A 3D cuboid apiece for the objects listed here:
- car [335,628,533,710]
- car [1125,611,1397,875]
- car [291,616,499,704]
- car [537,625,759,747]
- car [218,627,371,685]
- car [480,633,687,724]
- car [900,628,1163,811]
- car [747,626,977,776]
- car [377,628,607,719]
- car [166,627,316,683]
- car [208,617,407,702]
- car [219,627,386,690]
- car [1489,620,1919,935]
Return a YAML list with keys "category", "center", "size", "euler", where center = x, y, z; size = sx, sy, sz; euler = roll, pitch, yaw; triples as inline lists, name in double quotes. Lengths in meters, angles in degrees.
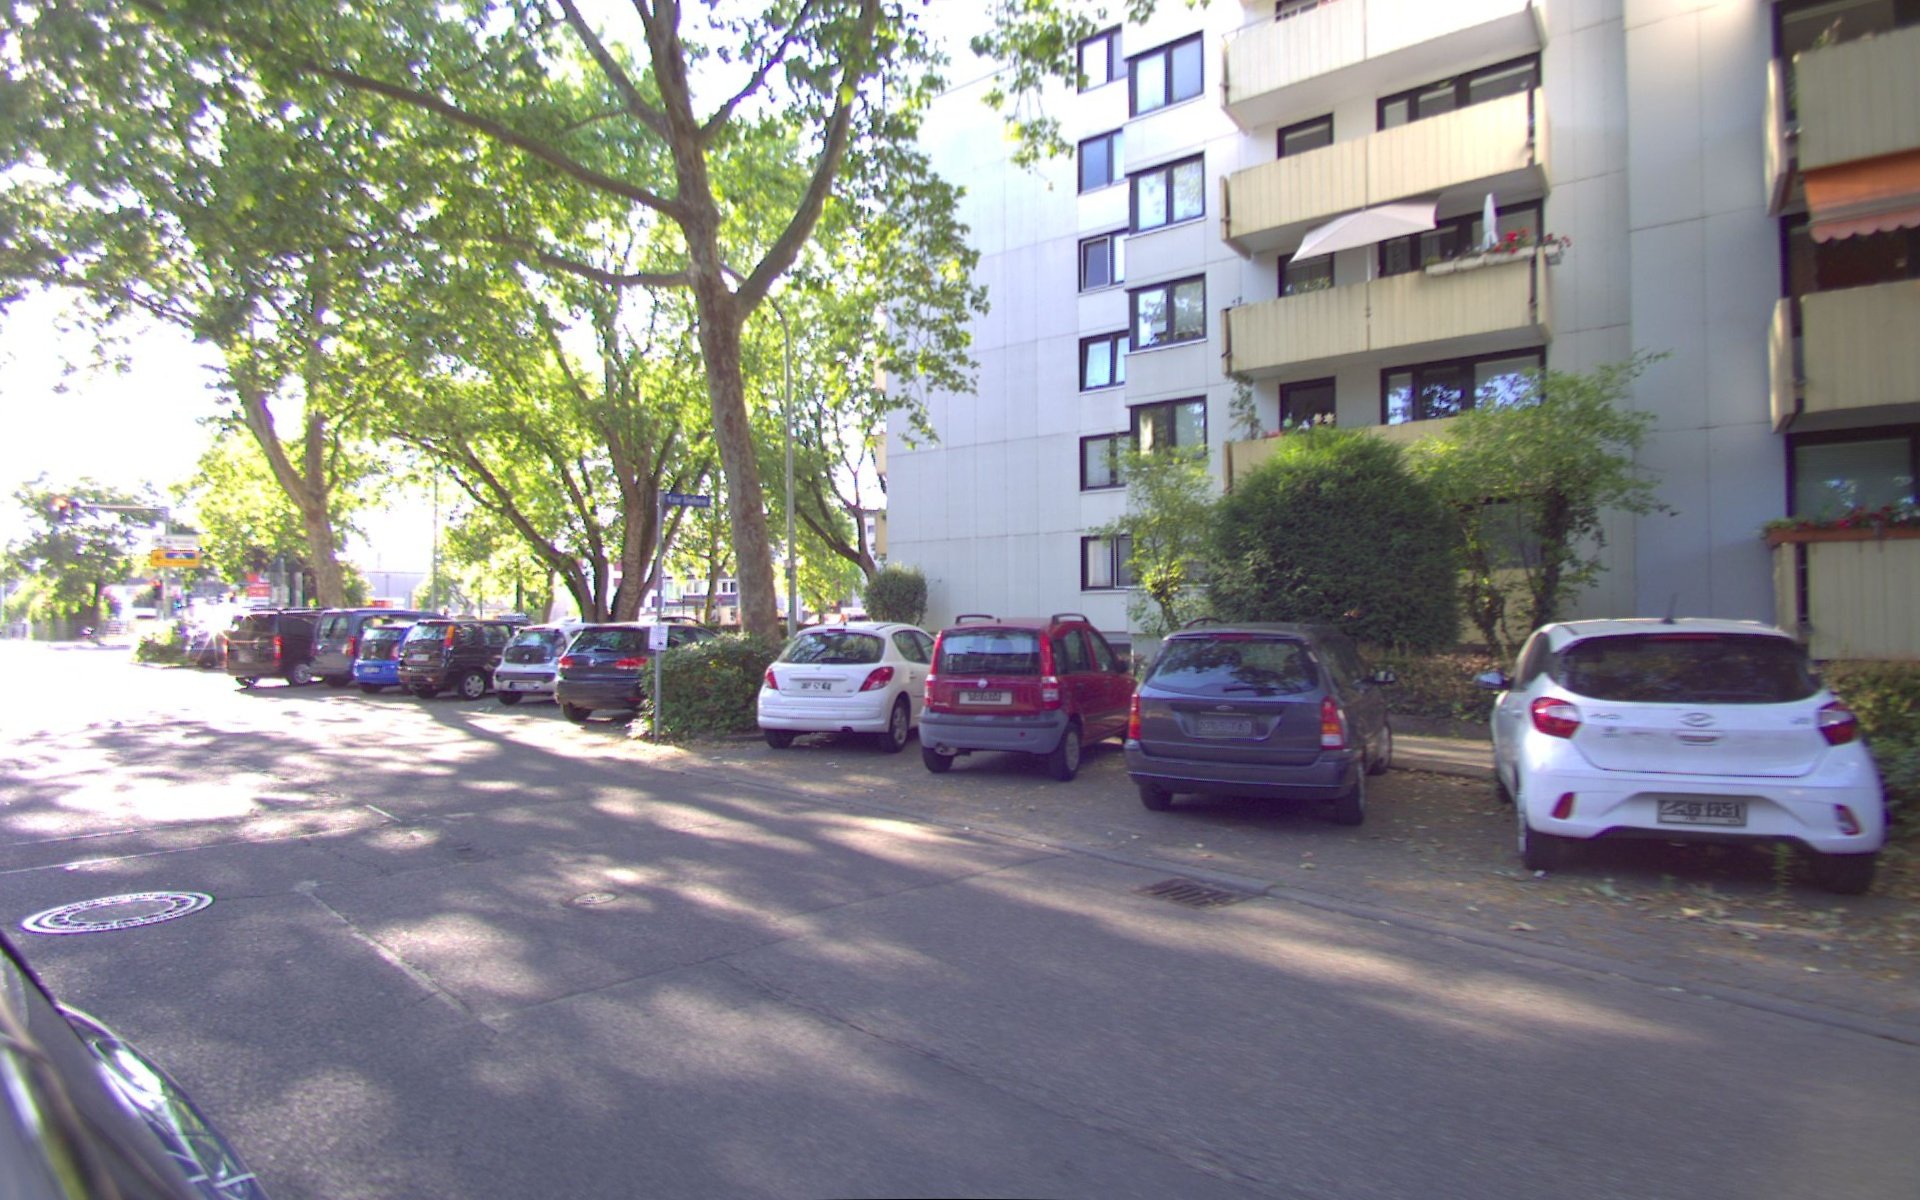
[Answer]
- category: "car"
  center: [-11.263, 1.409, 21.922]
  size: [1.641, 1.572, 3.569]
  euler: [-1, -1, 25]
- category: "car"
  center: [2.680, 0.943, 8.441]
  size: [1.641, 1.674, 3.619]
  euler: [-1, -1, 25]
- category: "car"
  center: [-13.249, 1.339, 23.978]
  size: [1.825, 1.896, 3.963]
  euler: [-1, -1, 27]
- category: "car"
  center: [-4.802, 1.253, 16.102]
  size: [1.636, 1.674, 3.629]
  euler: [-1, -1, 17]
- category: "car"
  center: [-20.699, 1.684, 31.668]
  size: [1.699, 1.655, 3.985]
  euler: [-1, -1, 11]
- category: "car"
  center: [-6.988, 1.399, 19.155]
  size: [1.695, 1.472, 3.622]
  euler: [-1, -1, 22]
- category: "car"
  center: [0.934, 1.110, 10.925]
  size: [1.641, 1.572, 3.619]
  euler: [-1, -1, 25]
- category: "car"
  center: [-1.071, 1.132, 12.797]
  size: [1.694, 1.572, 3.630]
  euler: [-1, -1, 16]
- category: "car"
  center: [-9.344, 1.402, 20.548]
  size: [1.790, 1.637, 3.961]
  euler: [-1, -2, 29]
- category: "car"
  center: [-23.263, 1.730, 32.922]
  size: [1.697, 1.655, 3.989]
  euler: [0, -1, 9]
- category: "car"
  center: [-15.886, 1.381, 24.884]
  size: [1.702, 1.901, 3.978]
  euler: [-1, -1, 17]
- category: "car"
  center: [-18.881, 1.630, 29.272]
  size: [1.701, 1.655, 3.982]
  euler: [-1, -1, 14]
- category: "car"
  center: [4.704, 0.912, 6.862]
  size: [1.766, 1.505, 3.630]
  euler: [-2, -2, 25]
